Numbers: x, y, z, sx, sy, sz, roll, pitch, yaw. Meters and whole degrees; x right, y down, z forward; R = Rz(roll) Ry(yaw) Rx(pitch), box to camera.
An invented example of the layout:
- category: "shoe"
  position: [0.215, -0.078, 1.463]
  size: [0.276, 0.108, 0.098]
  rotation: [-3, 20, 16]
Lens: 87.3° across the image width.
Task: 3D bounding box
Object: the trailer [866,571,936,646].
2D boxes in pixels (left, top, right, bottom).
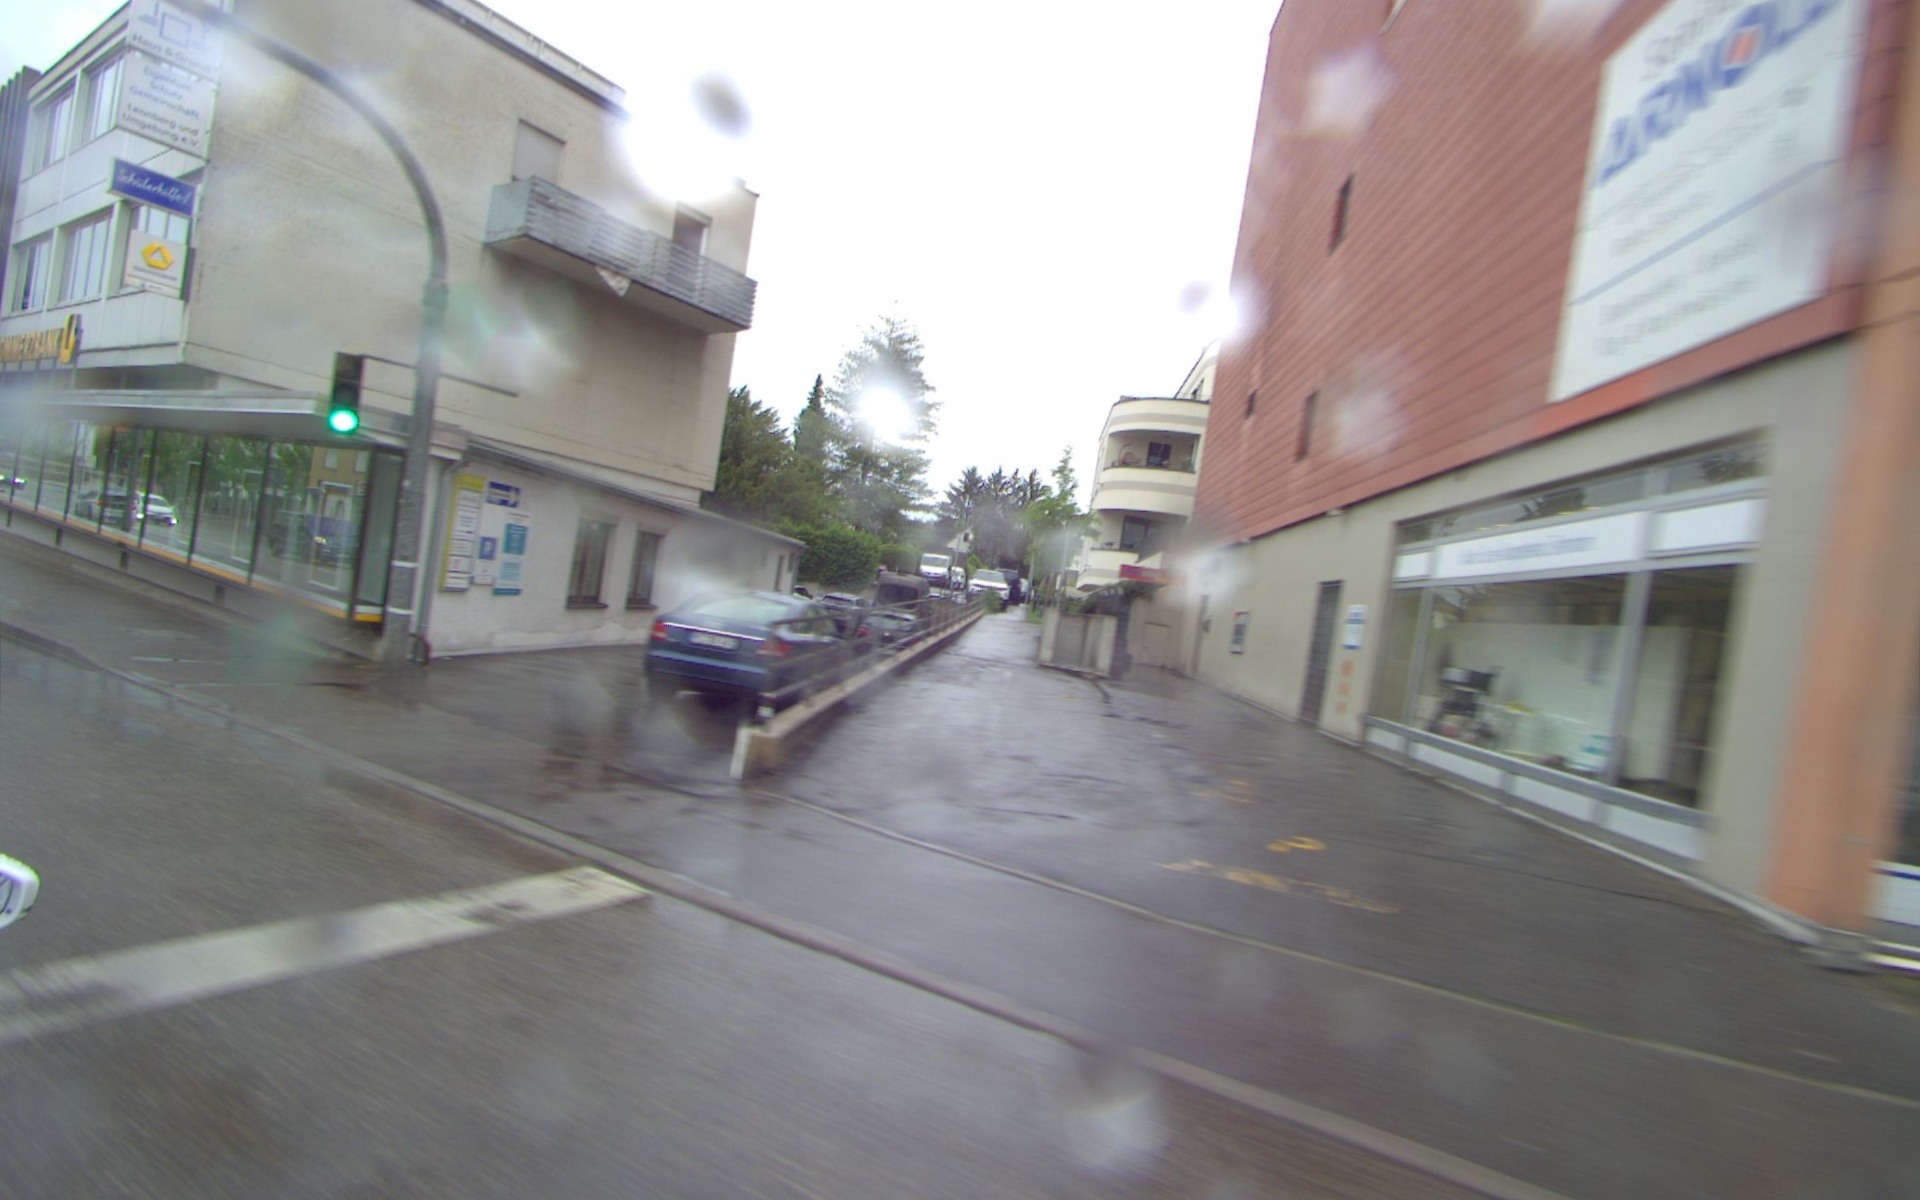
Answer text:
- category: "trailer"
  position: [-2.380, 0.396, 42.148]
  size: [1.954, 2.727, 5.328]
  rotation: [7, -1, 4]

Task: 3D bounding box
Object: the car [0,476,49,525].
- category: "car"
  position: [-33.585, -3.569, 34.578]
  size: [3.278, 1.522, 1.354]
  rotation: [7, 2, 1]

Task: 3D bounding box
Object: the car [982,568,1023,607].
- category: "car"
  position: [2.194, -0.604, 50.993]
  size: [1.841, 1.577, 3.762]
  rotation: [7, -1, 4]

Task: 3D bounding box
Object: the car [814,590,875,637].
- category: "car"
  position: [-4.853, 0.603, 42.649]
  size: [1.674, 1.687, 3.721]
  rotation: [7, -1, 5]

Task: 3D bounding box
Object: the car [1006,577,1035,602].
- category: "car"
  position: [4.683, -0.764, 78.107]
  size: [1.963, 1.602, 3.592]
  rotation: [7, -1, 2]

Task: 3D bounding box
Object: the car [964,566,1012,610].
- category: "car"
  position: [1.275, -0.485, 44.155]
  size: [1.841, 1.577, 3.762]
  rotation: [7, -1, 4]

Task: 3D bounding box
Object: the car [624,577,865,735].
- category: "car"
  position: [-2.475, 0.599, 12.748]
  size: [1.704, 1.428, 4.400]
  rotation: [8, 0, 3]

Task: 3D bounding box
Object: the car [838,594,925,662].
- category: "car"
  position: [-1.838, 0.671, 24.386]
  size: [1.556, 1.358, 3.465]
  rotation: [7, -1, 2]

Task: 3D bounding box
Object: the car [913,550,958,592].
- category: "car"
  position: [-1.592, -1.922, 67.747]
  size: [2.090, 2.316, 4.850]
  rotation: [7, -1, 7]

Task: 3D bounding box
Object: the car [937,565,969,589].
- category: "car"
  position: [-0.488, -1.786, 79.290]
  size: [1.756, 1.482, 3.529]
  rotation: [7, -1, 10]

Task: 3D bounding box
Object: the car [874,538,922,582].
- category: "car"
  position: [-4.085, -2.594, 66.859]
  size: [2.090, 2.316, 4.850]
  rotation: [7, -1, 7]
